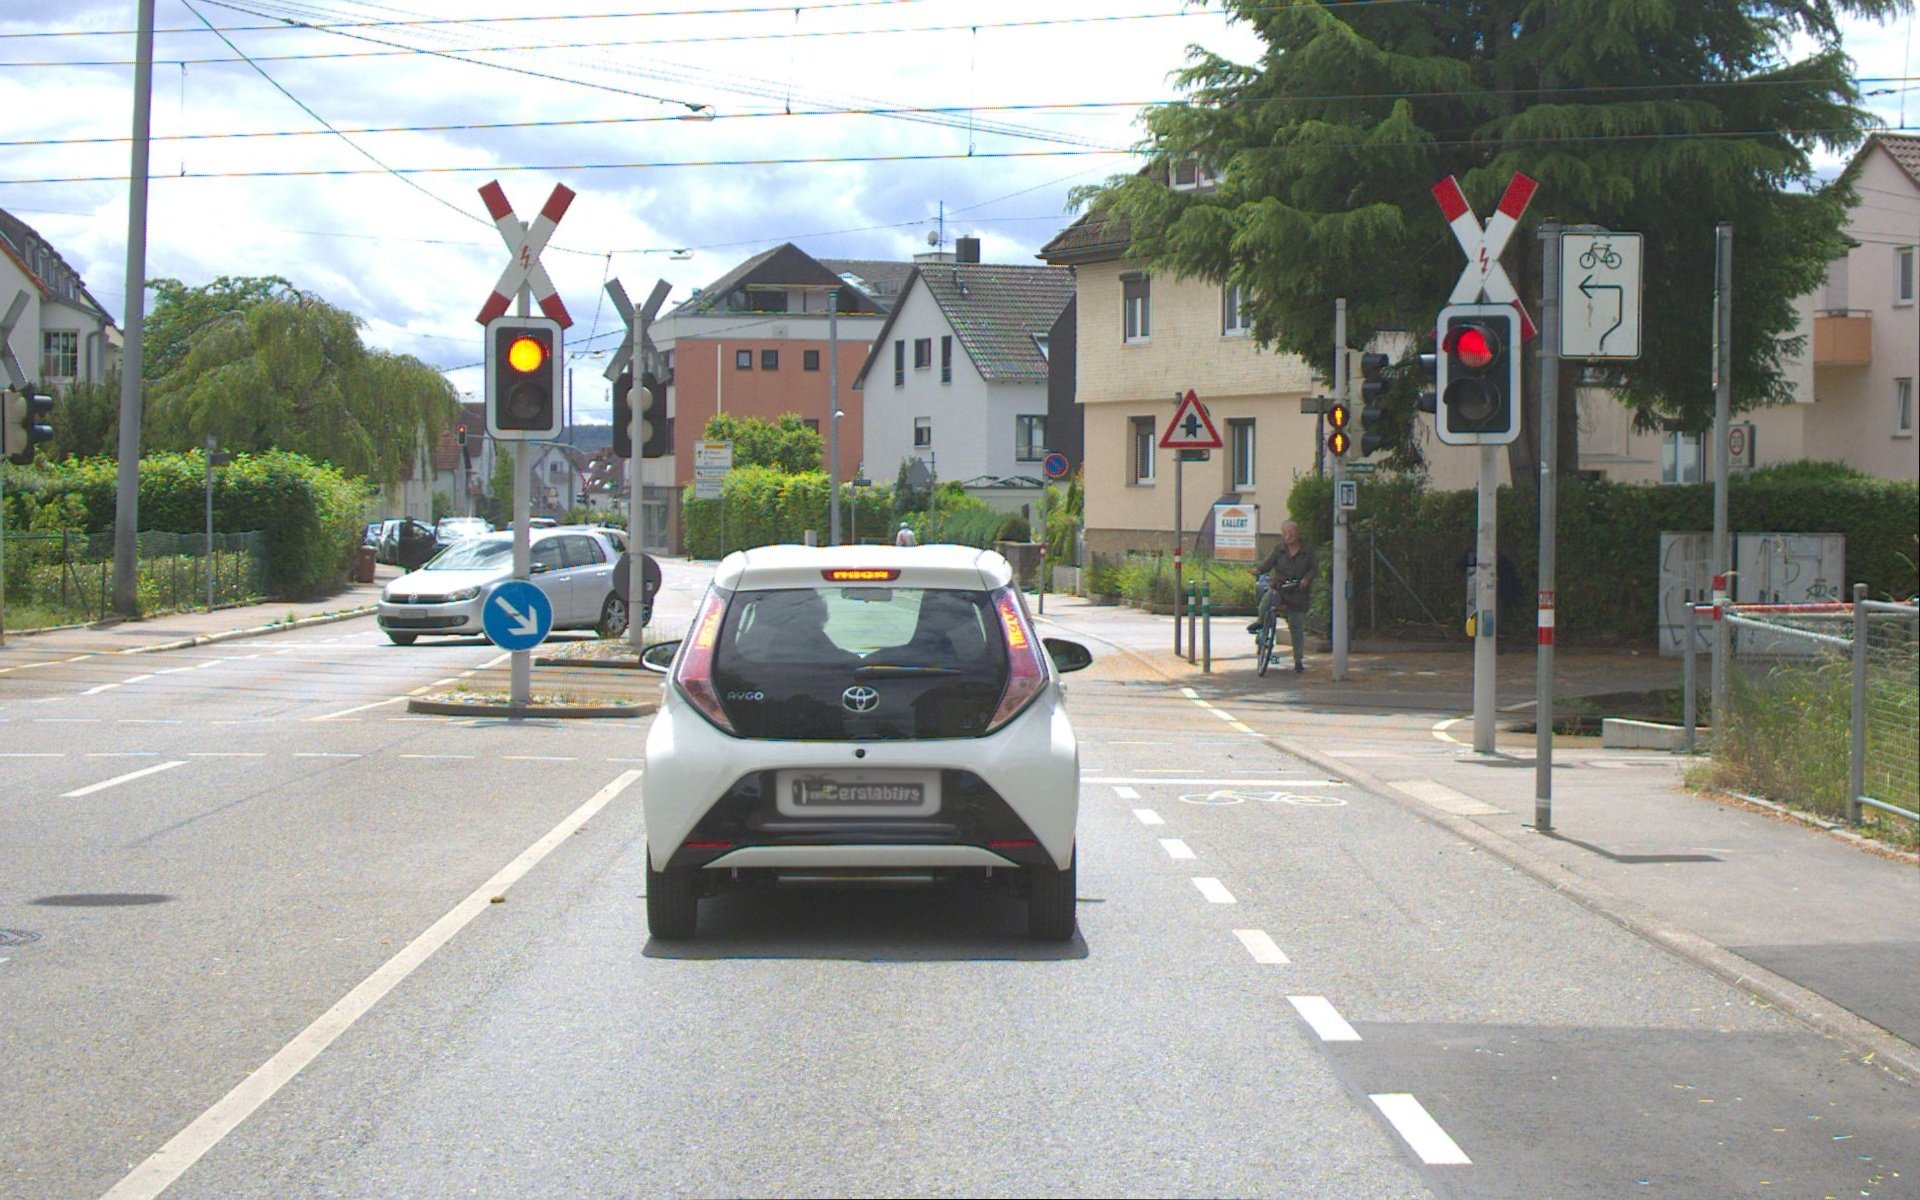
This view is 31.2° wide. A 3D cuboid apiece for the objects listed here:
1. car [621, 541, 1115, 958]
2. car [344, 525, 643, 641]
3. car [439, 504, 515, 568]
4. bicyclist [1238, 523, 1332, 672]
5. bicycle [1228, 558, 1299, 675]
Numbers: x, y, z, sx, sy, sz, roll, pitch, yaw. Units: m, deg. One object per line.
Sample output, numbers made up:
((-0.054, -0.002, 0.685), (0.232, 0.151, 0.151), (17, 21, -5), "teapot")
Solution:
((-0.454, 0.504, 14.053), (1.721, 1.437, 3.709), (1, 1, -4), "car")
((-6.146, -0.234, 45.736), (1.908, 1.436, 4.092), (2, 1, 28), "car")
((-13.540, -1.808, 96.485), (1.993, 1.713, 4.001), (1, 1, -7), "car")
((3.554, -0.033, 37.634), (0.840, 1.548, 0.756), (-3, 4, -6), "bicyclist")
((3.320, 0.169, 37.657), (0.457, 1.168, 1.480), (-3, 4, -6), "bicycle")
